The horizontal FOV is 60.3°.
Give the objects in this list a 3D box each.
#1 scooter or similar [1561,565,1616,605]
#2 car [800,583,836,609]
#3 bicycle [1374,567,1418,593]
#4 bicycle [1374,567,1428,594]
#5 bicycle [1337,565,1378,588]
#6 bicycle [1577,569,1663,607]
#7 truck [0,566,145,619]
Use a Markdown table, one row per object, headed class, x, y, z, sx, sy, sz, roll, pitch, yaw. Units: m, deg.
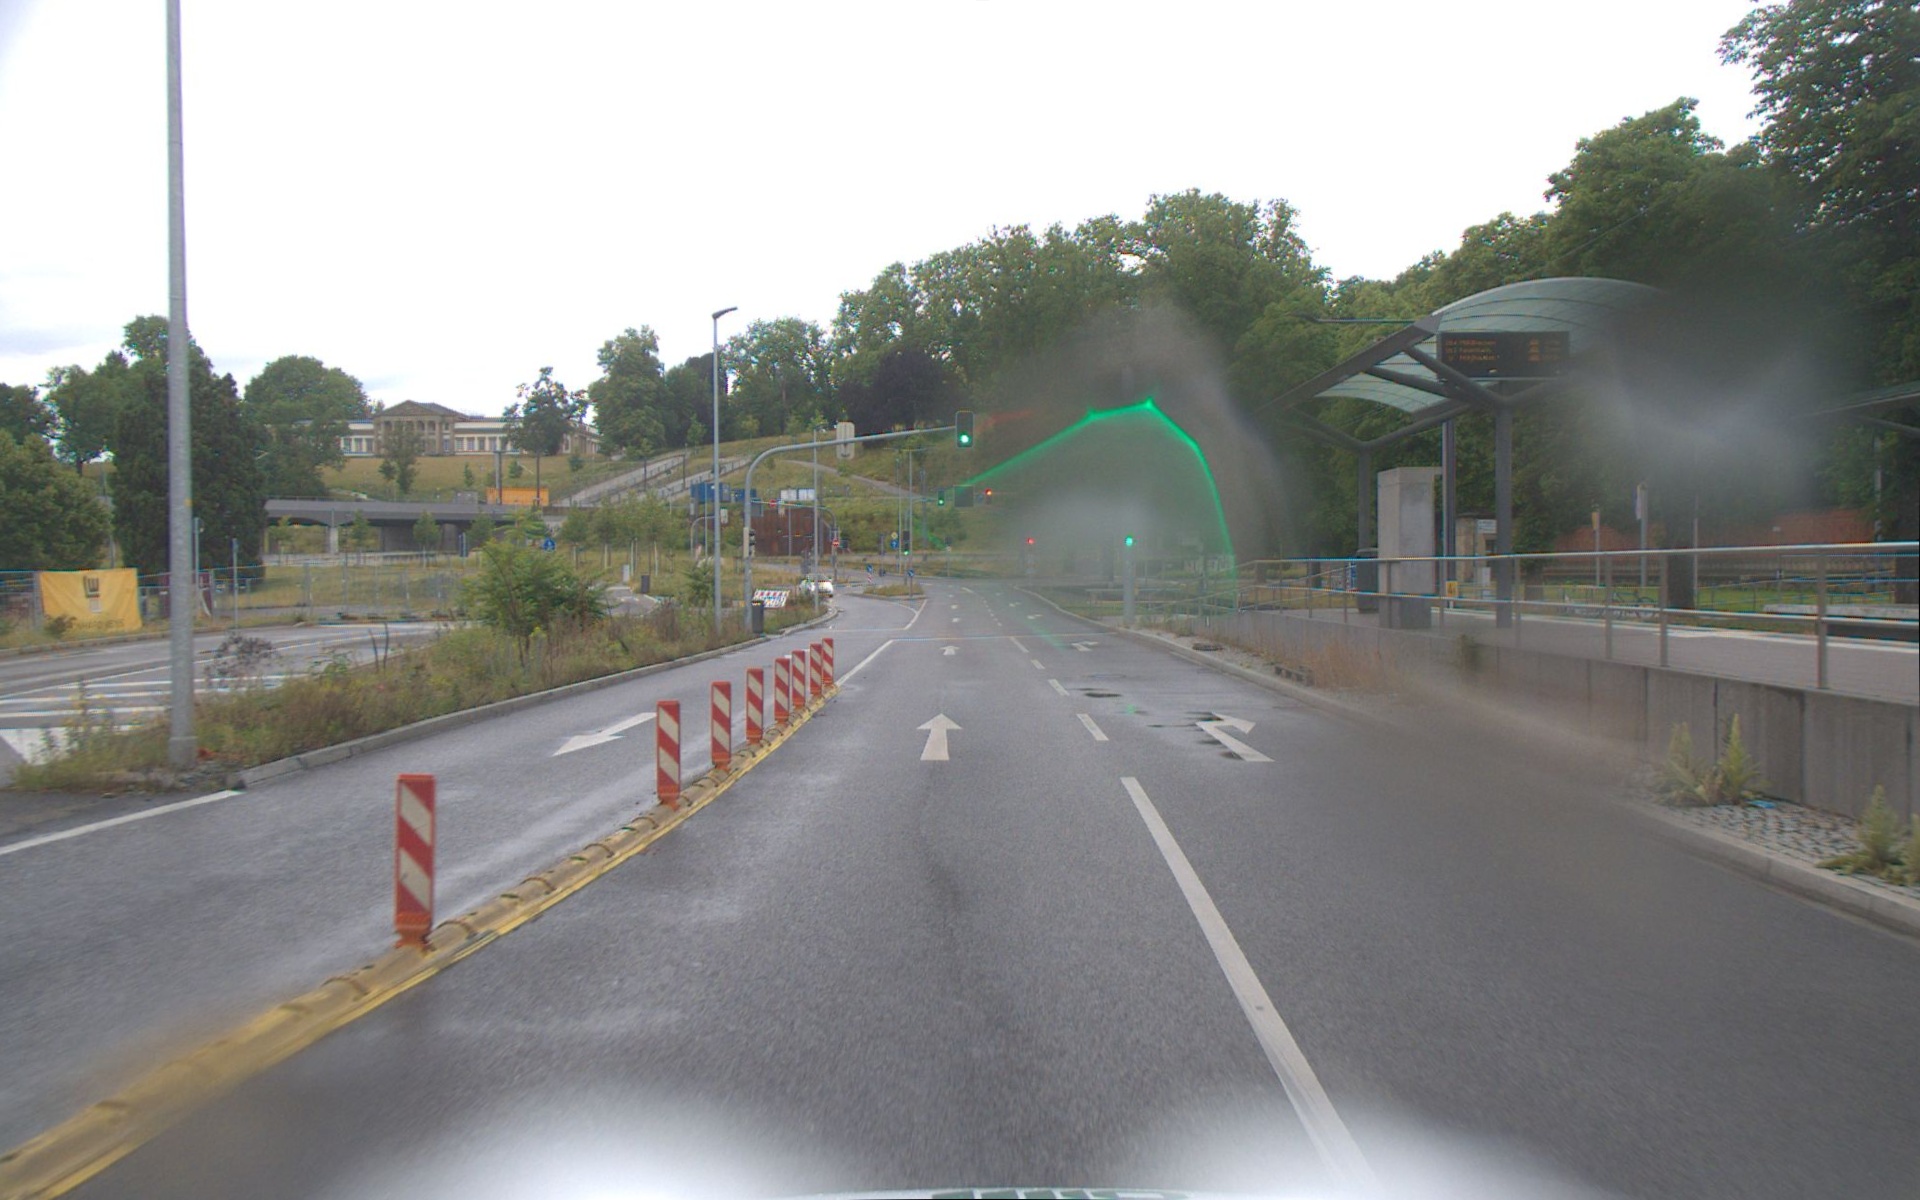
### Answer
| class | x | y | z | sx | sy | sz | roll | pitch | yaw |
| --- | --- | --- | --- | --- | --- | --- | --- | --- | --- |
| scooter or similar | 19.803 | -0.472 | 52.120 | 1.512 | 1.156 | 0.431 | -3 | 2 | -2 |
| car | -9.142 | -0.287 | 106.492 | 1.561 | 1.517 | 3.698 | -4 | 1 | -16 |
| bicycle | 19.571 | -0.915 | 74.254 | 1.774 | 1.049 | 0.653 | -3 | 2 | -2 |
| bicycle | 19.543 | -0.878 | 73.377 | 2.178 | 1.049 | 0.689 | -3 | 2 | -2 |
| bicycle | 19.333 | -1.144 | 80.419 | 1.774 | 1.049 | 0.653 | -3 | 2 | -2 |
| bicycle | 19.362 | -0.365 | 48.558 | 2.275 | 0.973 | 0.570 | -3 | 2 | -2 |
| truck | -54.574 | -0.526 | 101.421 | 7.882 | 2.851 | 2.391 | -4 | 3 | -38 |
